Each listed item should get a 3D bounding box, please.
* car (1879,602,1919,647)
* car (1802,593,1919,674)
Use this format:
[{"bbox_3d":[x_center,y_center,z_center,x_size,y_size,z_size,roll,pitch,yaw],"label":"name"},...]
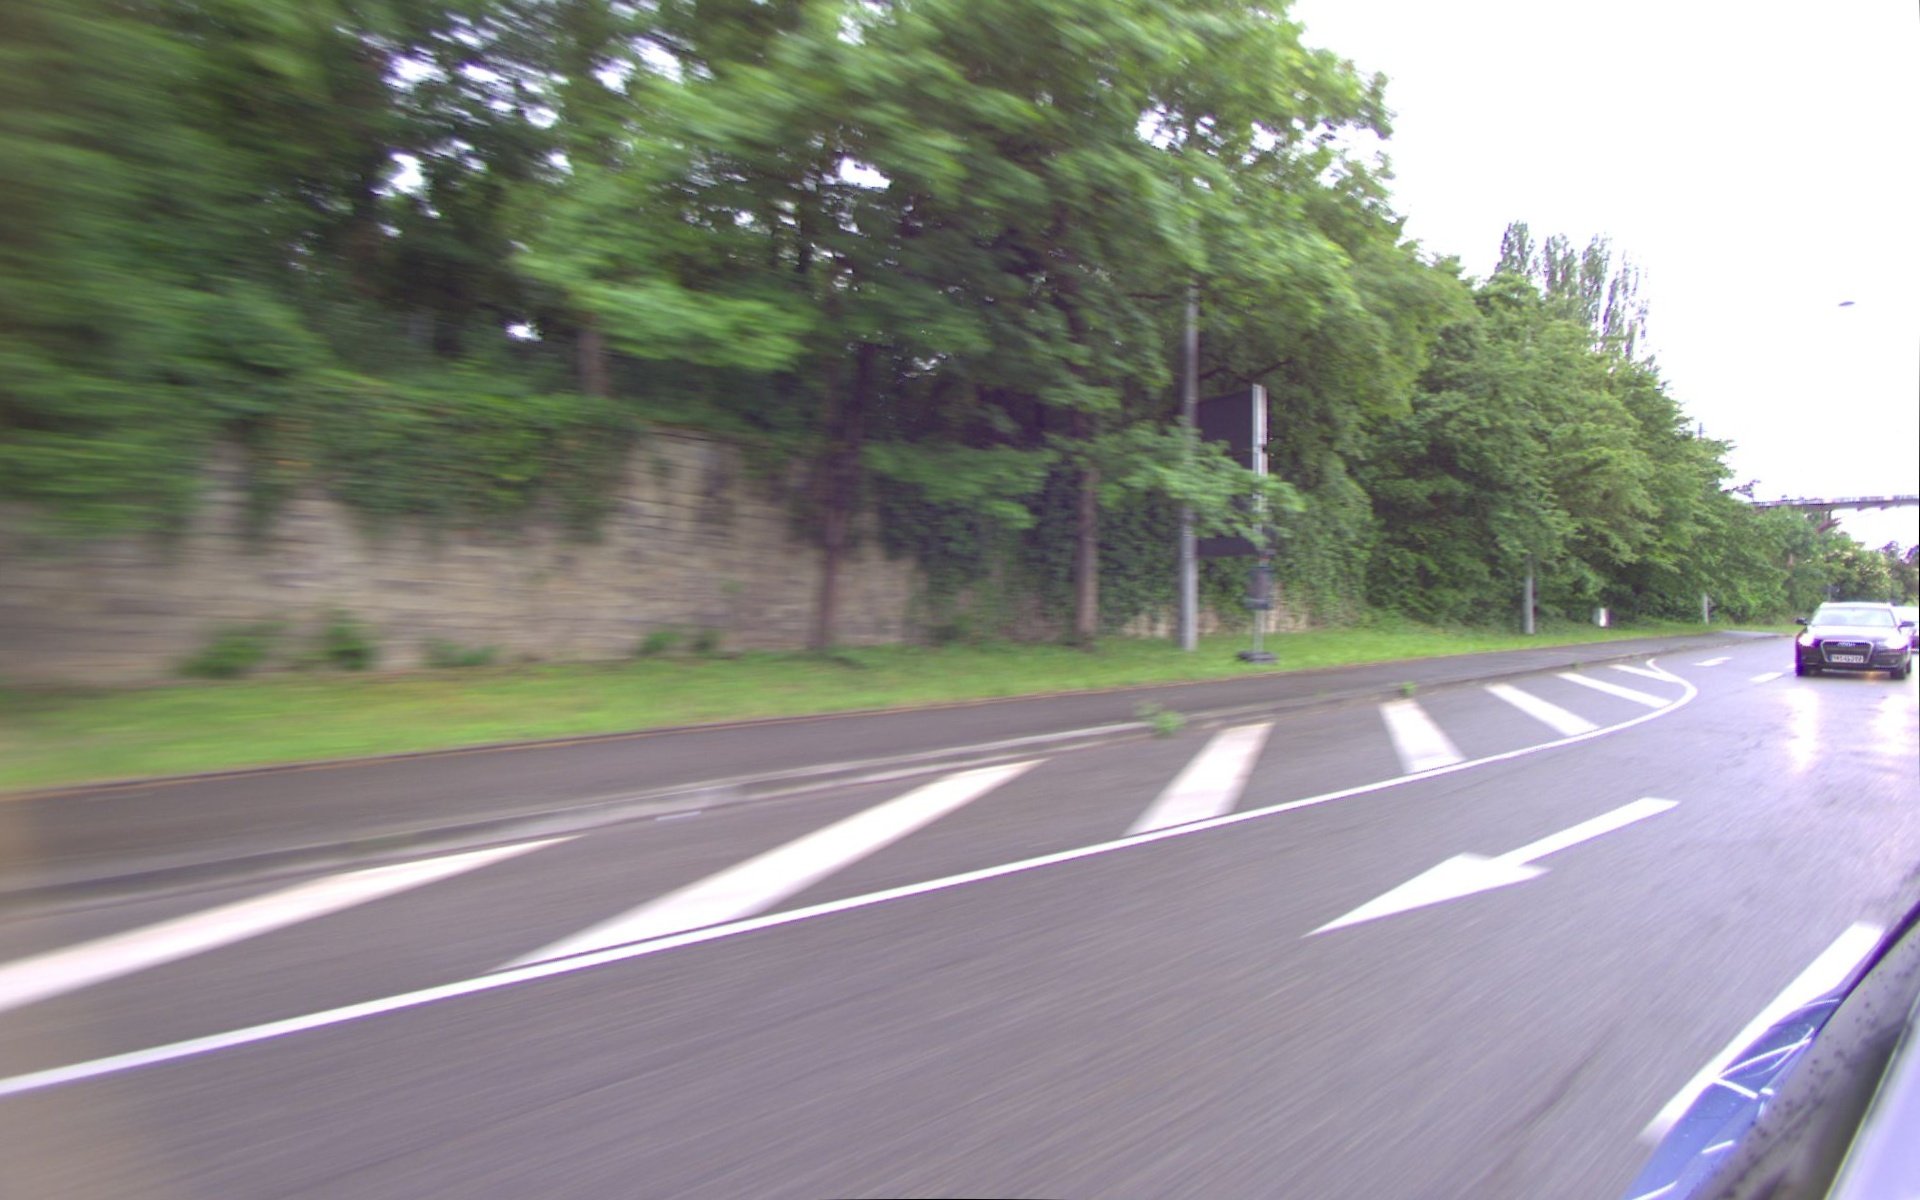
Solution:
[{"bbox_3d":[31.587,0.786,33.158,3.932,1.403,1.843,1,-1,-43],"label":"car"},{"bbox_3d":[20.069,0.663,22.337,1.923,1.621,4.210,0,0,45],"label":"car"}]
